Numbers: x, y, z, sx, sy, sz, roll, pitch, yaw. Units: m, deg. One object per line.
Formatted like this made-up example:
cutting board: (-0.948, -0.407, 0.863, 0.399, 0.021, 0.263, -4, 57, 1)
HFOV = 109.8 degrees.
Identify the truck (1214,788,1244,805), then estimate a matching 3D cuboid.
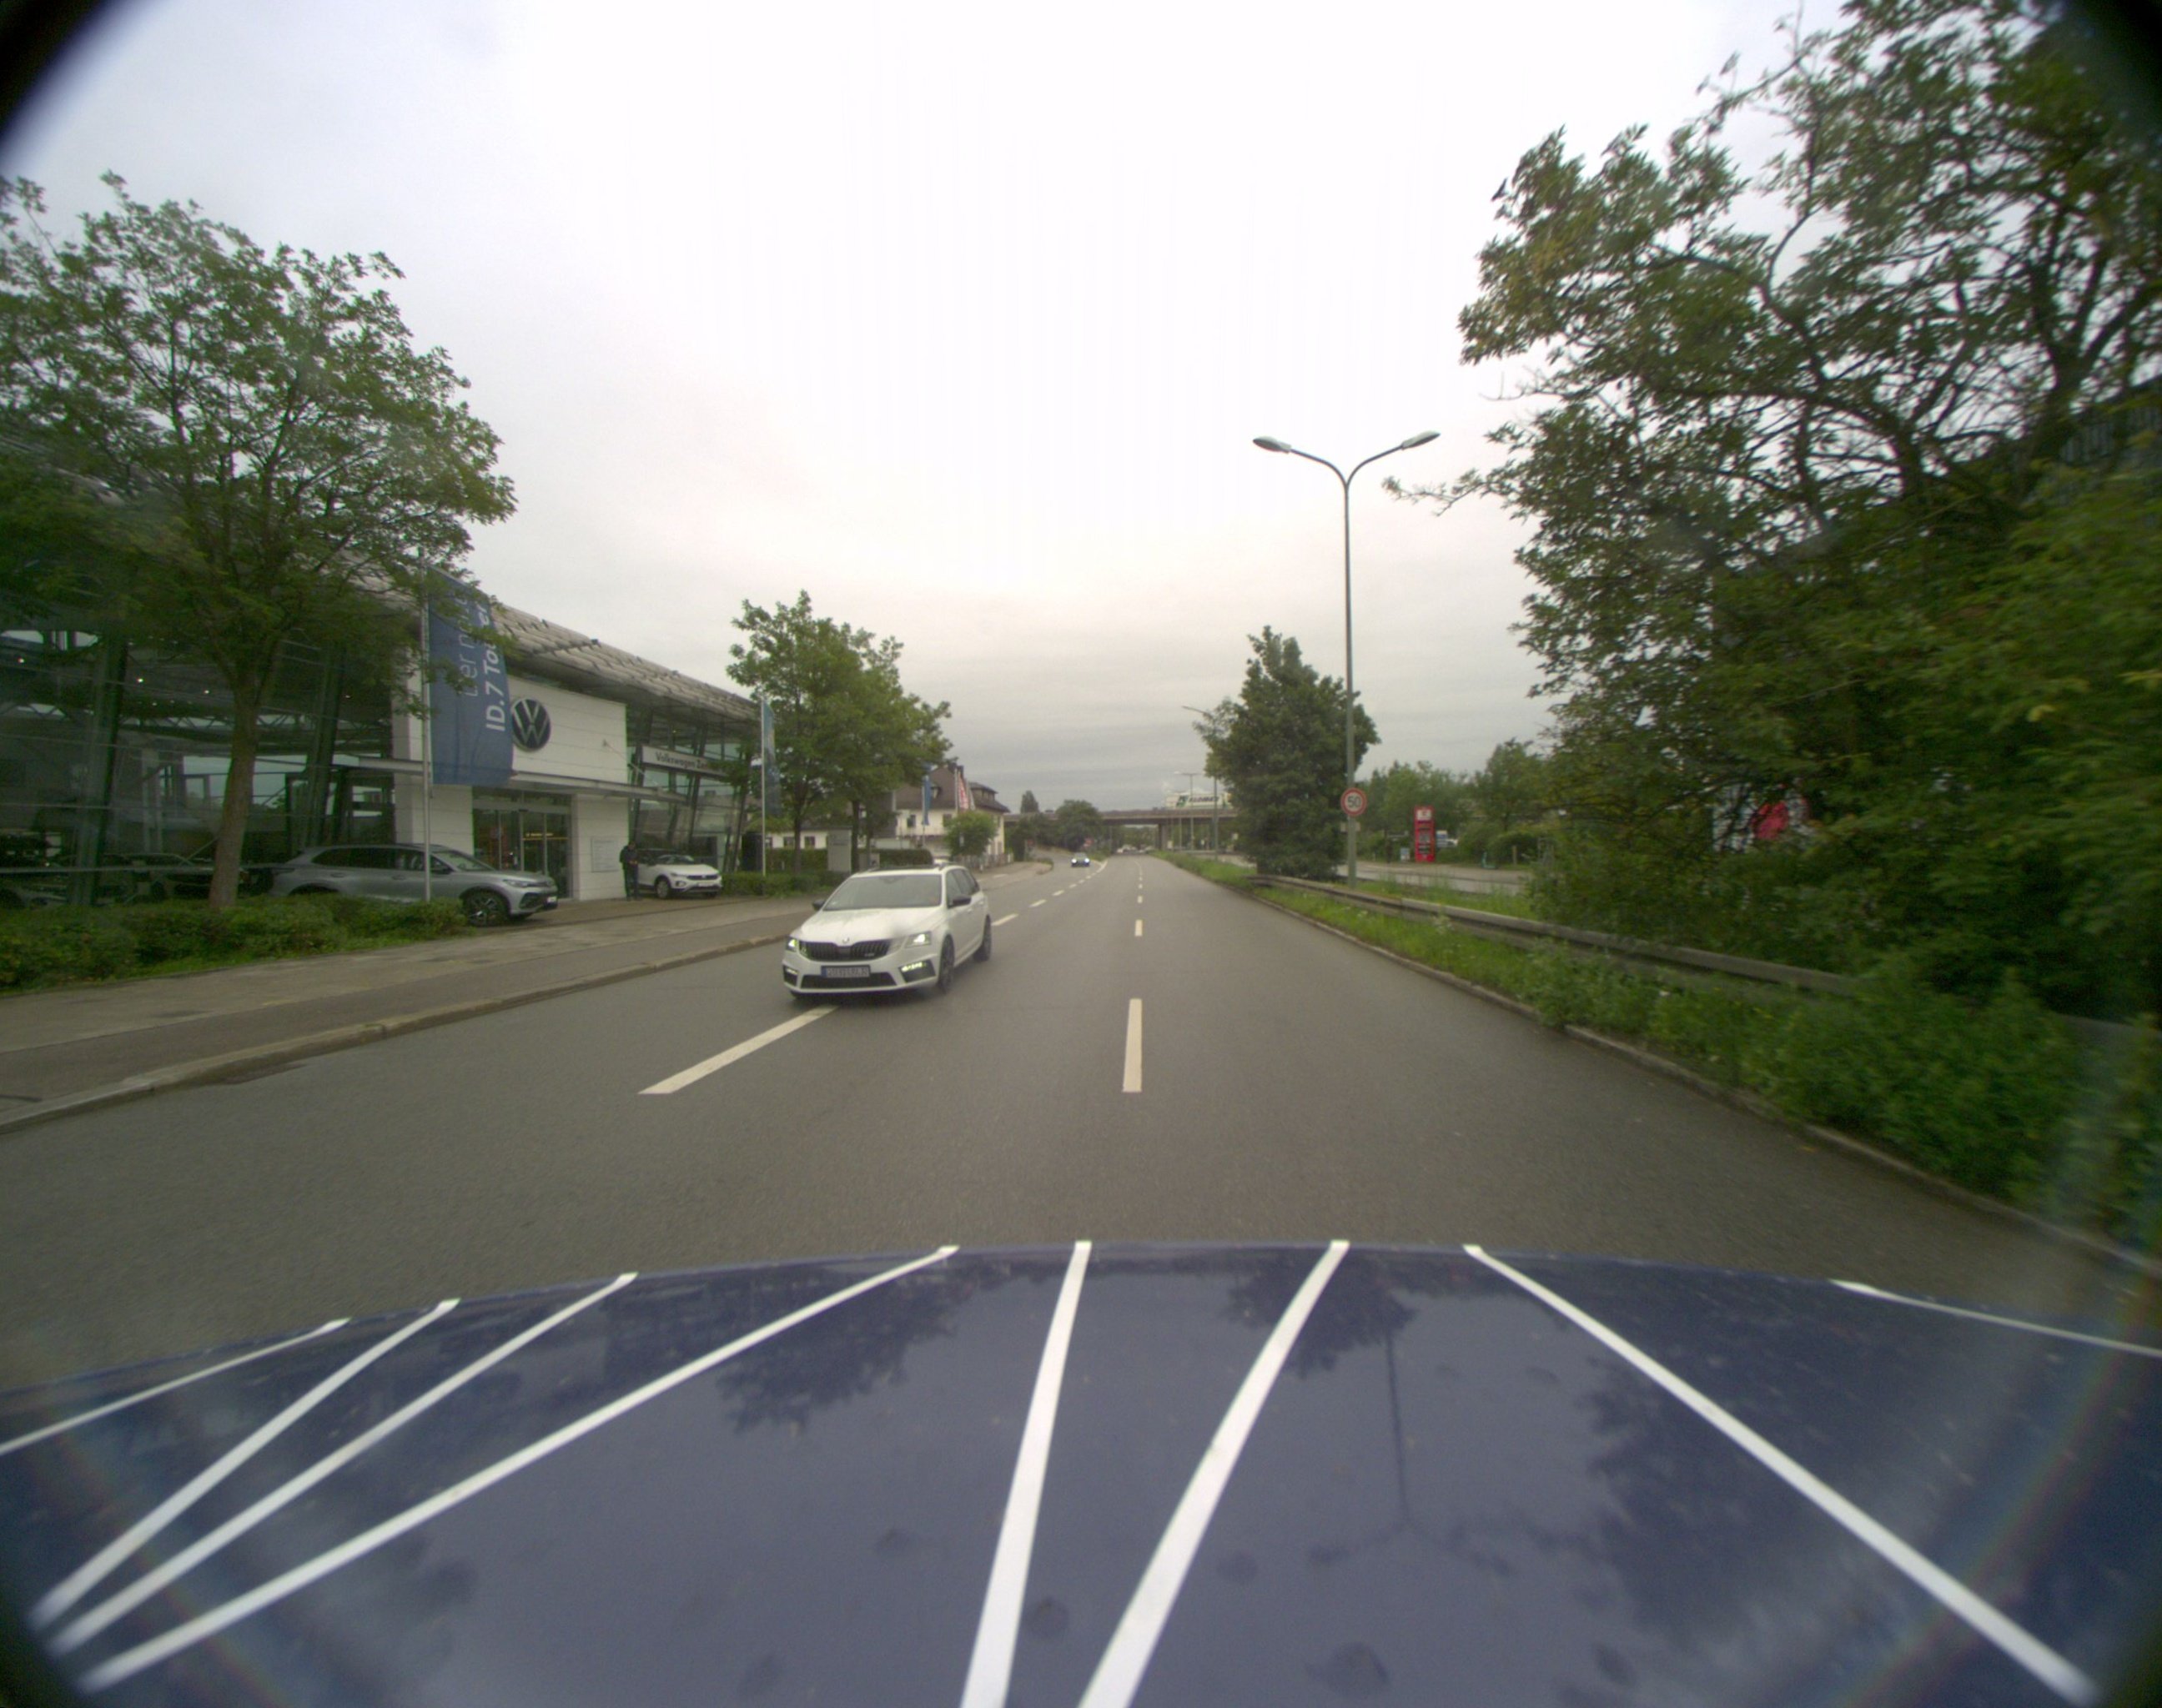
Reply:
truck: (28.943, -11.137, 148.504, 5.178, 3.229, 2.602, 3, 5, 42)

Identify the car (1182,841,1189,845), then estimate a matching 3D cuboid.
car: (34.866, -3.724, 252.910, 1.973, 1.389, 4.816, 0, 2, 4)

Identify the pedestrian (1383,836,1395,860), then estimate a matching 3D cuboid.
pedestrian: (24.244, -0.472, 59.751, 0.624, 1.819, 0.817, -1, 1, 5)

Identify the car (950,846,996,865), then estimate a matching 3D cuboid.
car: (-10.483, 0.142, 74.075, 4.105, 1.716, 1.927, -1, 1, 3)

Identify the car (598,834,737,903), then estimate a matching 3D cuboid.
car: (-13.437, 0.403, 24.664, 4.249, 2.002, 1.966, 2, 2, 29)

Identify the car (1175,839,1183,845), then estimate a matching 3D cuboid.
car: (28.308, -3.485, 220.039, 1.973, 1.574, 4.590, 2, 2, 2)

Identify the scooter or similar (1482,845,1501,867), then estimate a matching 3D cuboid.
scooter or similar: (23.949, 0.102, 44.325, 0.446, 1.220, 1.387, -1, 1, 3)

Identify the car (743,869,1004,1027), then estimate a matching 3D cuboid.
car: (-2.326, 0.993, 9.933, 1.914, 1.439, 4.557, -2, 0, 3)

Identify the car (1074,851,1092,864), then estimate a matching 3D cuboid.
car: (0.224, 0.371, 81.050, 1.709, 1.281, 4.000, -1, 1, 3)

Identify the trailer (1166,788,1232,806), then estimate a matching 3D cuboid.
trailer: (23.684, -11.411, 153.209, 14.016, 3.280, 2.671, 2, 4, 42)

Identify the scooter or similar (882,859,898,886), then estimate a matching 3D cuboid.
scooter or similar: (-9.080, 0.859, 36.172, 0.497, 1.198, 1.429, 2, 1, -5)

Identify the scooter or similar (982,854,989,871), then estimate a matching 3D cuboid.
scooter or similar: (-7.182, 0.620, 57.191, 0.398, 1.216, 1.638, 1, 2, -9)

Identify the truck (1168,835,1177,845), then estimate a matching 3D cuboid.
truck: (28.591, -4.290, 237.639, 2.258, 2.960, 7.231, 1, 1, 1)

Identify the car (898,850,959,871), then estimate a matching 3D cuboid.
car: (-11.195, 0.492, 56.037, 4.022, 1.452, 1.793, -1, 1, 4)

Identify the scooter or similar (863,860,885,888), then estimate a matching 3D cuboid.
scooter or similar: (-9.224, 0.859, 33.912, 0.497, 1.198, 1.430, 2, 0, 2)

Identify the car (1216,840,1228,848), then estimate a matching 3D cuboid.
car: (29.331, -2.086, 157.877, 1.998, 1.563, 4.575, 0, 1, 5)

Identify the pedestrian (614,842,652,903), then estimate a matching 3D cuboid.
pedestrian: (-13.324, 0.533, 22.595, 0.808, 1.766, 0.714, -2, 1, -40)

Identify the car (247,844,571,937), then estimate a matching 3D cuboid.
car: (-13.628, 0.688, 15.814, 4.607, 1.697, 2.004, 0, 2, -16)
